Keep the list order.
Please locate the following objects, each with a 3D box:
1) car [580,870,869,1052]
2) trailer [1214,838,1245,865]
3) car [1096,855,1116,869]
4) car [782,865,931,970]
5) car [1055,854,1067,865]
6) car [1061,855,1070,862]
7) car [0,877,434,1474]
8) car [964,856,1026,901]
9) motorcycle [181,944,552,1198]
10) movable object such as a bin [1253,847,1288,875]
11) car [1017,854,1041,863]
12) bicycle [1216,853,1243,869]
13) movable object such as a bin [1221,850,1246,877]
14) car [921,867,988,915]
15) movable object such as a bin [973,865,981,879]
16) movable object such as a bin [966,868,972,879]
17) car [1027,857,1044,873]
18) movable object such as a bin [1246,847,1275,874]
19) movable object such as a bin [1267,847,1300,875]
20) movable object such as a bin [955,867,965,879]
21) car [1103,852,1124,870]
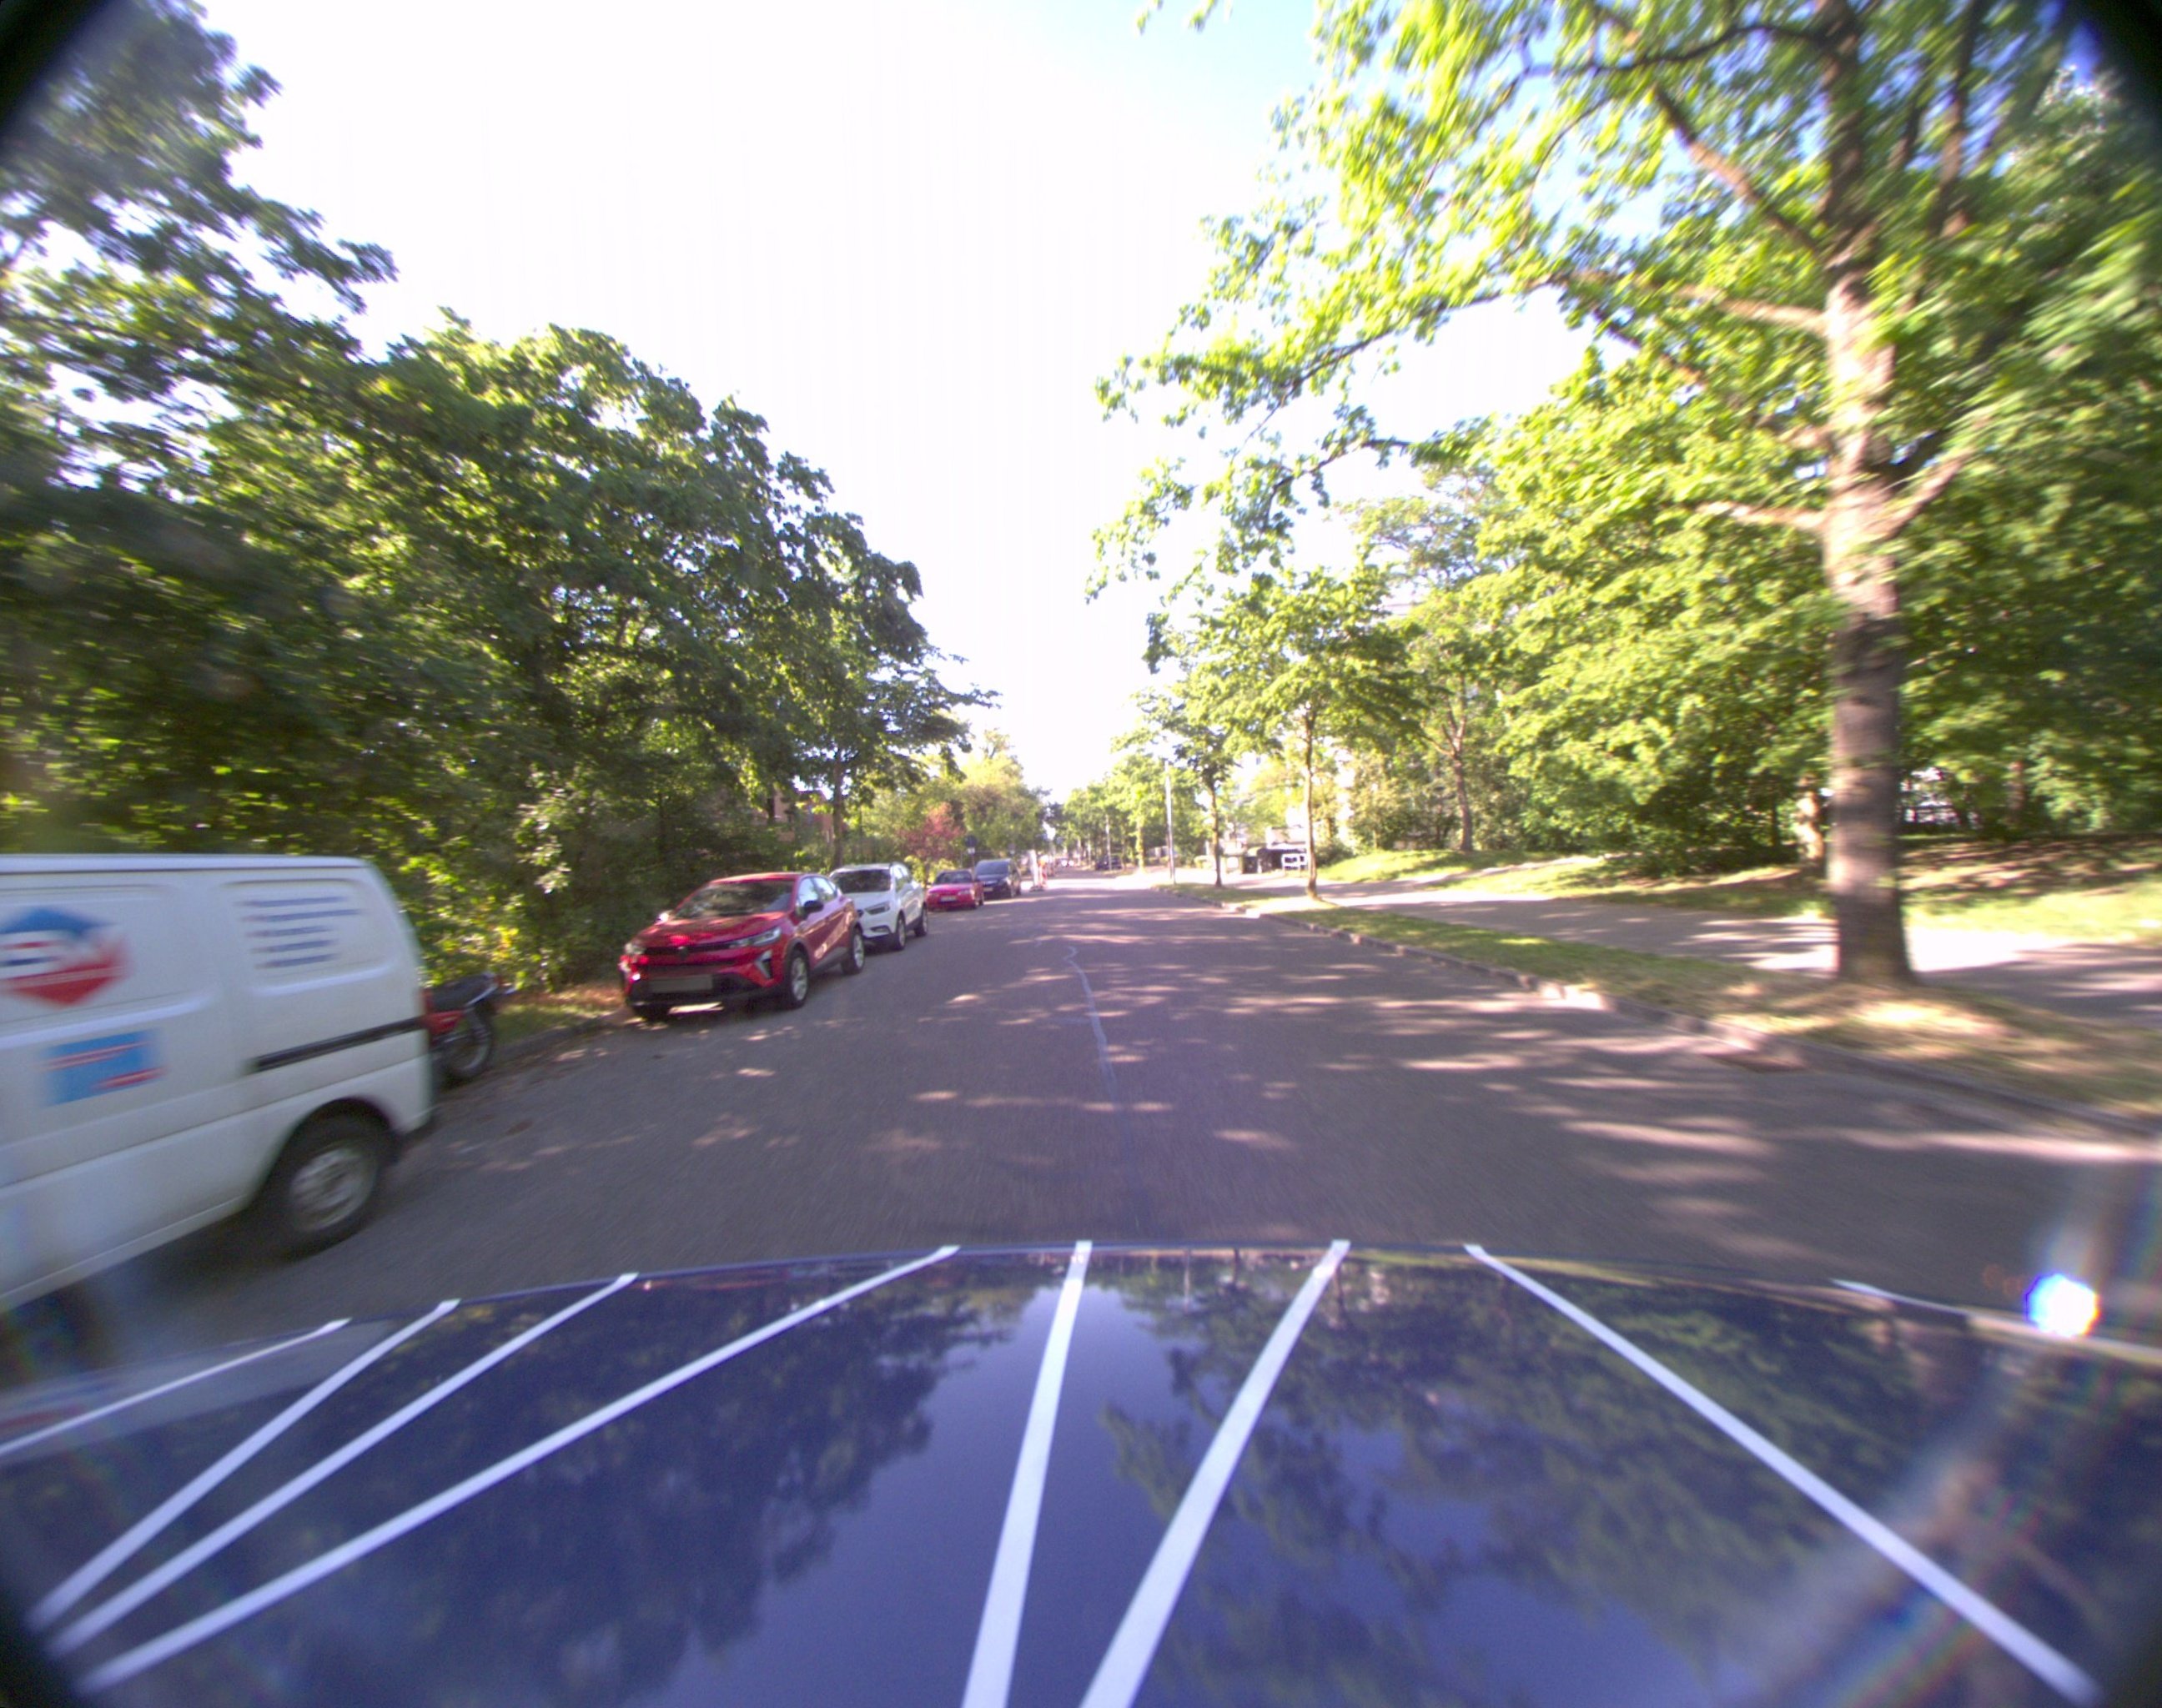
[{"bbox_3d":[-4.130,1.114,9.650,1.780,1.612,4.063,-4,0,-2],"label":"car"},{"bbox_3d":[12.640,-0.245,64.977,1.868,2.108,4.346,-4,0,2],"label":"trailer"},{"bbox_3d":[2.753,0.853,85.666,1.721,1.424,4.135,-4,0,-5],"label":"car"},{"bbox_3d":[-4.225,1.109,14.983,1.780,1.612,4.063,-4,0,-2],"label":"car"},{"bbox_3d":[-3.445,0.917,133.675,1.999,1.871,3.999,-1,1,-1],"label":"car"},{"bbox_3d":[-3.532,1.102,173.576,1.664,1.587,4.006,-1,0,-6],"label":"car"},{"bbox_3d":[-4.142,1.056,2.011,1.627,1.763,3.668,-4,0,-1],"label":"car"},{"bbox_3d":[-3.588,1.004,32.520,1.814,1.641,4.421,-4,0,3],"label":"car"},{"bbox_3d":[-4.867,1.387,5.442,0.649,1.189,2.035,-3,1,0],"label":"motorcycle"},{"bbox_3d":[10.043,0.389,40.273,1.147,1.427,1.270,-2,0,-35],"label":"movable object such as a bin"},{"bbox_3d":[-11.503,0.991,168.889,5.270,1.993,1.999,-1,0,-3],"label":"car"},{"bbox_3d":[10.351,0.487,52.923,1.862,1.021,0.400,-3,1,-14],"label":"bicycle"},{"bbox_3d":[8.434,0.506,41.961,1.271,1.427,1.183,-2,0,15],"label":"movable object such as a bin"},{"bbox_3d":[-4.325,1.223,26.579,1.666,1.367,4.154,-4,0,-1],"label":"car"},{"bbox_3d":[-7.810,1.360,57.082,0.564,0.994,0.608,-1,1,-1],"label":"movable object such as a bin"},{"bbox_3d":[-8.390,1.457,56.967,0.419,0.865,0.525,-1,1,-1],"label":"movable object such as a bin"},{"bbox_3d":[-4.819,1.127,80.675,1.683,1.612,4.136,-3,0,-2],"label":"car"},{"bbox_3d":[10.193,0.368,43.129,1.270,1.427,1.328,-2,0,27],"label":"movable object such as a bin"},{"bbox_3d":[10.938,0.373,41.095,1.147,1.427,1.270,-2,0,-35],"label":"movable object such as a bin"},{"bbox_3d":[-9.069,1.411,56.982,0.696,0.923,0.695,-1,1,-1],"label":"movable object such as a bin"},{"bbox_3d":[3.331,0.722,79.003,1.780,1.612,4.220,-4,0,-1],"label":"car"}]
